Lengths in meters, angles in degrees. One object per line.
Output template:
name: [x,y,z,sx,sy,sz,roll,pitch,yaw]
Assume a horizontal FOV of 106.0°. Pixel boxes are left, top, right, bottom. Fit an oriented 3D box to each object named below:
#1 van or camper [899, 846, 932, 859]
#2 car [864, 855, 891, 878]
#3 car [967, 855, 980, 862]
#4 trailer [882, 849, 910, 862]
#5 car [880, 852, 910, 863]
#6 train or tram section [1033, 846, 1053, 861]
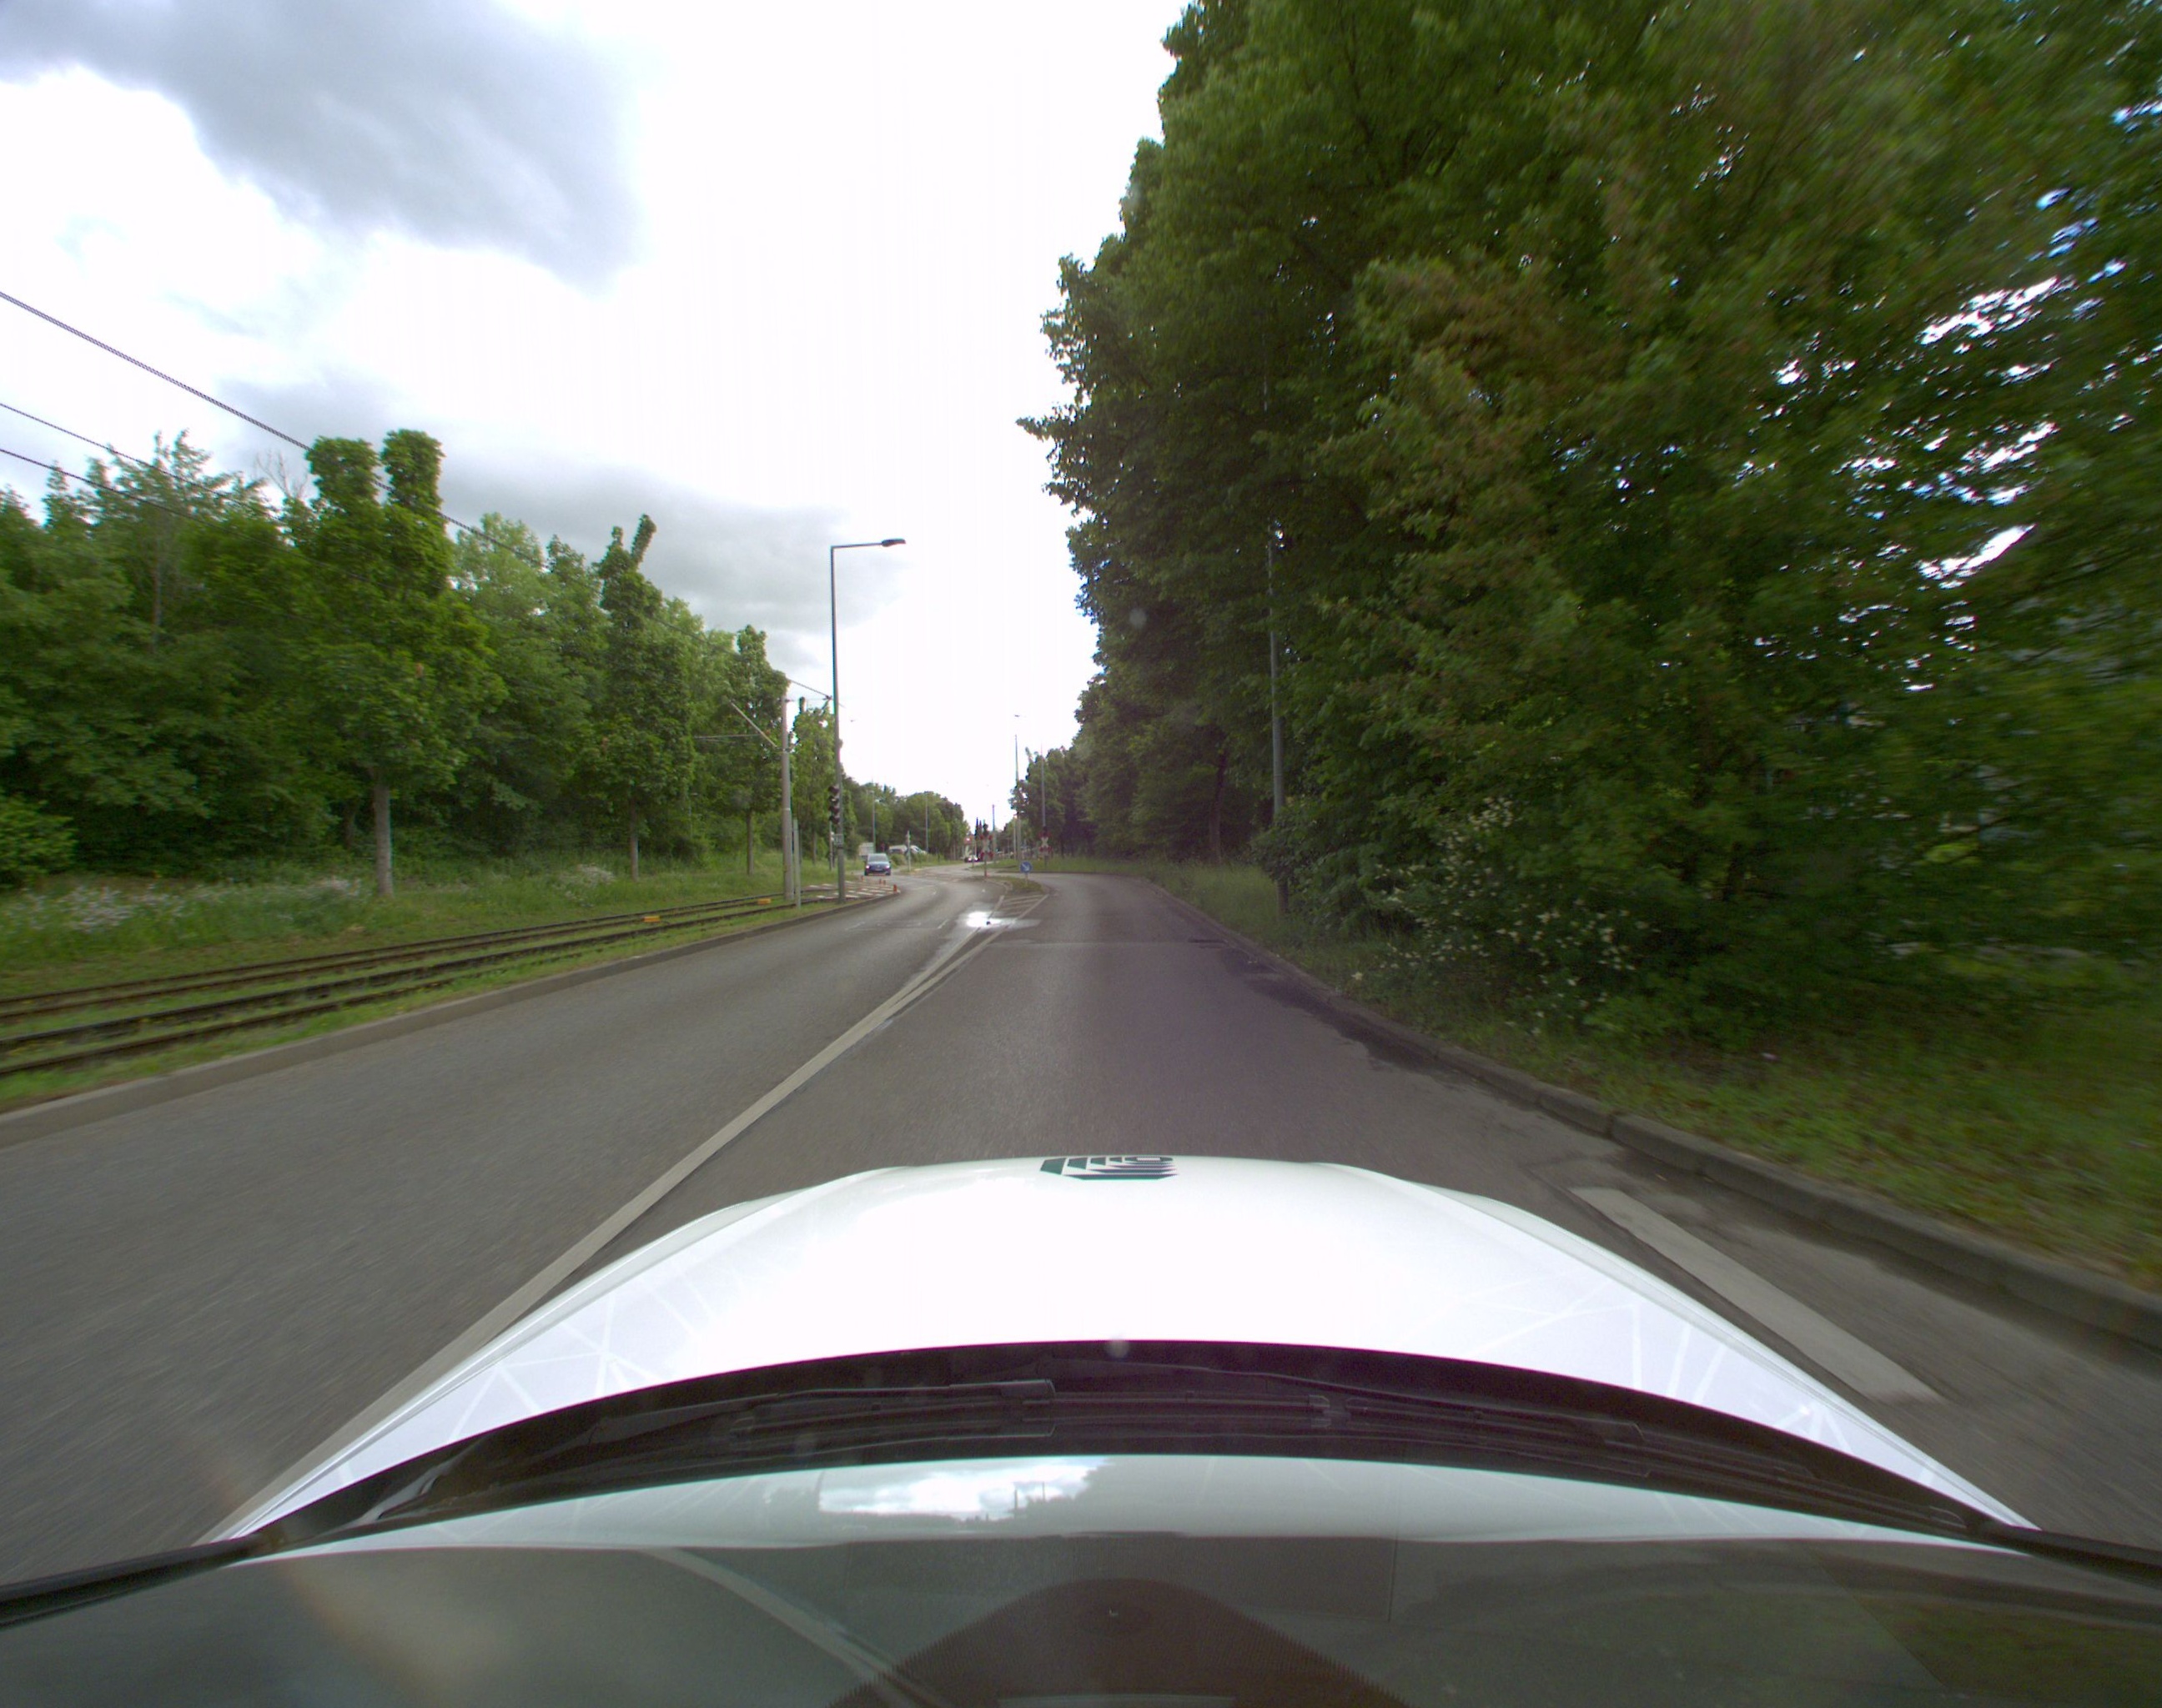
van or camper: [-29.141,-0.240,143.472,5.321,2.203,1.998,-1,0,-4]
car: [-15.063,0.876,60.100,1.870,1.521,4.217,-1,1,-15]
car: [-22.111,0.917,167.302,1.986,1.438,4.427,-3,0,1]
trailer: [-29.237,0.264,129.027,3.974,2.013,1.907,-1,0,-1]
car: [-28.766,0.578,126.004,4.307,1.448,1.832,-3,0,-7]
train or tram section: [-9.747,-0.086,204.267,3.004,3.311,34.638,-1,0,-6]
